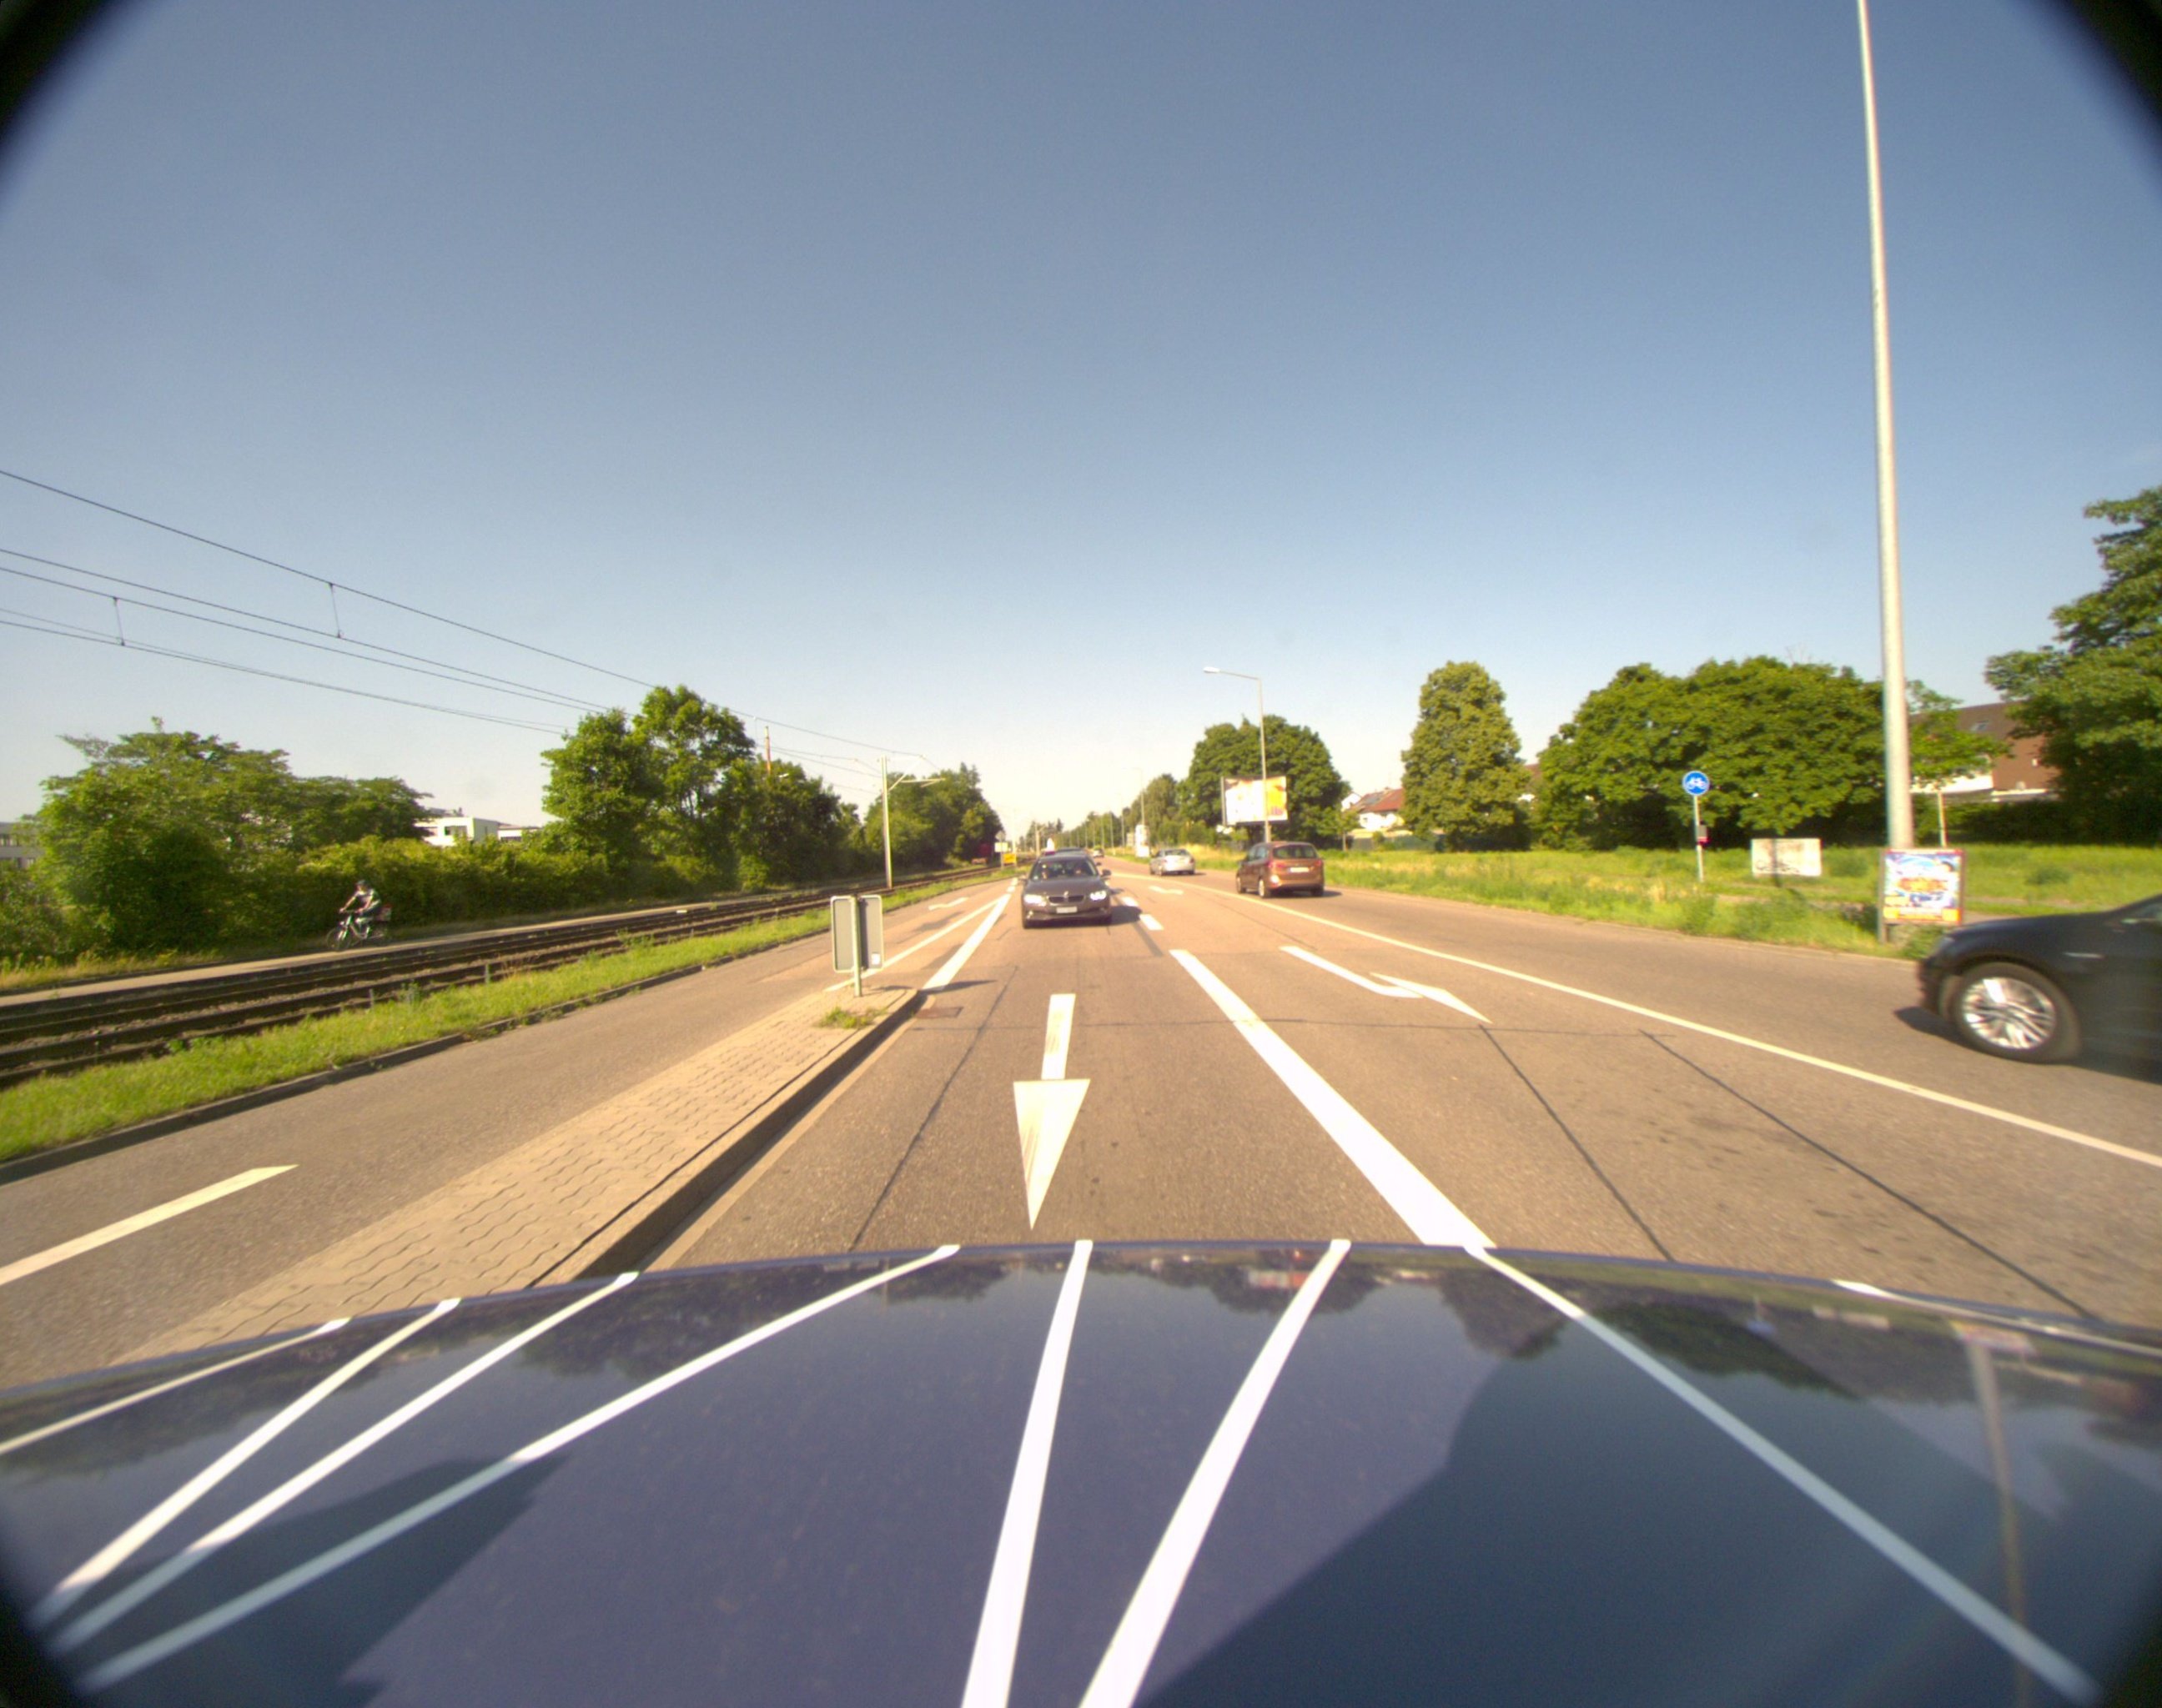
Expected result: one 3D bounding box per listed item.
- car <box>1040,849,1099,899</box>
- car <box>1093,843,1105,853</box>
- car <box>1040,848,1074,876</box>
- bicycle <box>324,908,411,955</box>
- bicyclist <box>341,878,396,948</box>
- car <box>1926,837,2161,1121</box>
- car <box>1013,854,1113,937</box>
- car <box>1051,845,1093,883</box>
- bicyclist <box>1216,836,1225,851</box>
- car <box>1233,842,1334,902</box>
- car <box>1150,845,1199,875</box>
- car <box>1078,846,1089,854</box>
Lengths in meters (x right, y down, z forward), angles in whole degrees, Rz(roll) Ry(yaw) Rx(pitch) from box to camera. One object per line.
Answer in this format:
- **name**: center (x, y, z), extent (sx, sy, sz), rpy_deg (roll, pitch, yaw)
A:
- **car**: center (-0.398, 0.637, 26.506), extent (1.821, 1.481, 4.610), rpy_deg (-3, 1, -1)
- **car**: center (2.755, -0.927, 116.919), extent (1.637, 1.551, 3.675), rpy_deg (-2, 1, -2)
- **car**: center (-1.396, 0.426, 45.299), extent (1.807, 1.498, 4.196), rpy_deg (-3, 1, -1)
- **bicycle**: center (-19.252, 2.078, 20.569), extent (0.547, 1.041, 1.873), rpy_deg (-3, 1, -1)
- **bicyclist**: center (-19.281, 1.581, 20.570), extent (0.708, 1.797, 0.717), rpy_deg (-3, 1, -1)
- **car**: center (6.662, 0.664, 3.082), extent (1.893, 1.465, 4.099), rpy_deg (-2, 1, 0)
- **car**: center (-0.372, 0.800, 16.744), extent (1.821, 1.416, 4.460), rpy_deg (-4, 1, -1)
- **car**: center (-0.455, 0.435, 37.663), extent (1.821, 1.641, 4.610), rpy_deg (-4, 1, -1)
- **bicyclist**: center (13.911, -1.064, 75.622), extent (0.638, 1.420, 1.071), rpy_deg (-2, 1, -1)
- **car**: center (5.723, 0.455, 21.956), extent (1.750, 1.553, 3.999), rpy_deg (-1, 1, -2)
- **car**: center (4.864, 0.291, 40.219), extent (1.707, 1.456, 4.367), rpy_deg (-1, 1, -5)
- **car**: center (0.532, -0.869, 158.809), extent (1.699, 1.490, 3.674), rpy_deg (-3, 1, -6)
